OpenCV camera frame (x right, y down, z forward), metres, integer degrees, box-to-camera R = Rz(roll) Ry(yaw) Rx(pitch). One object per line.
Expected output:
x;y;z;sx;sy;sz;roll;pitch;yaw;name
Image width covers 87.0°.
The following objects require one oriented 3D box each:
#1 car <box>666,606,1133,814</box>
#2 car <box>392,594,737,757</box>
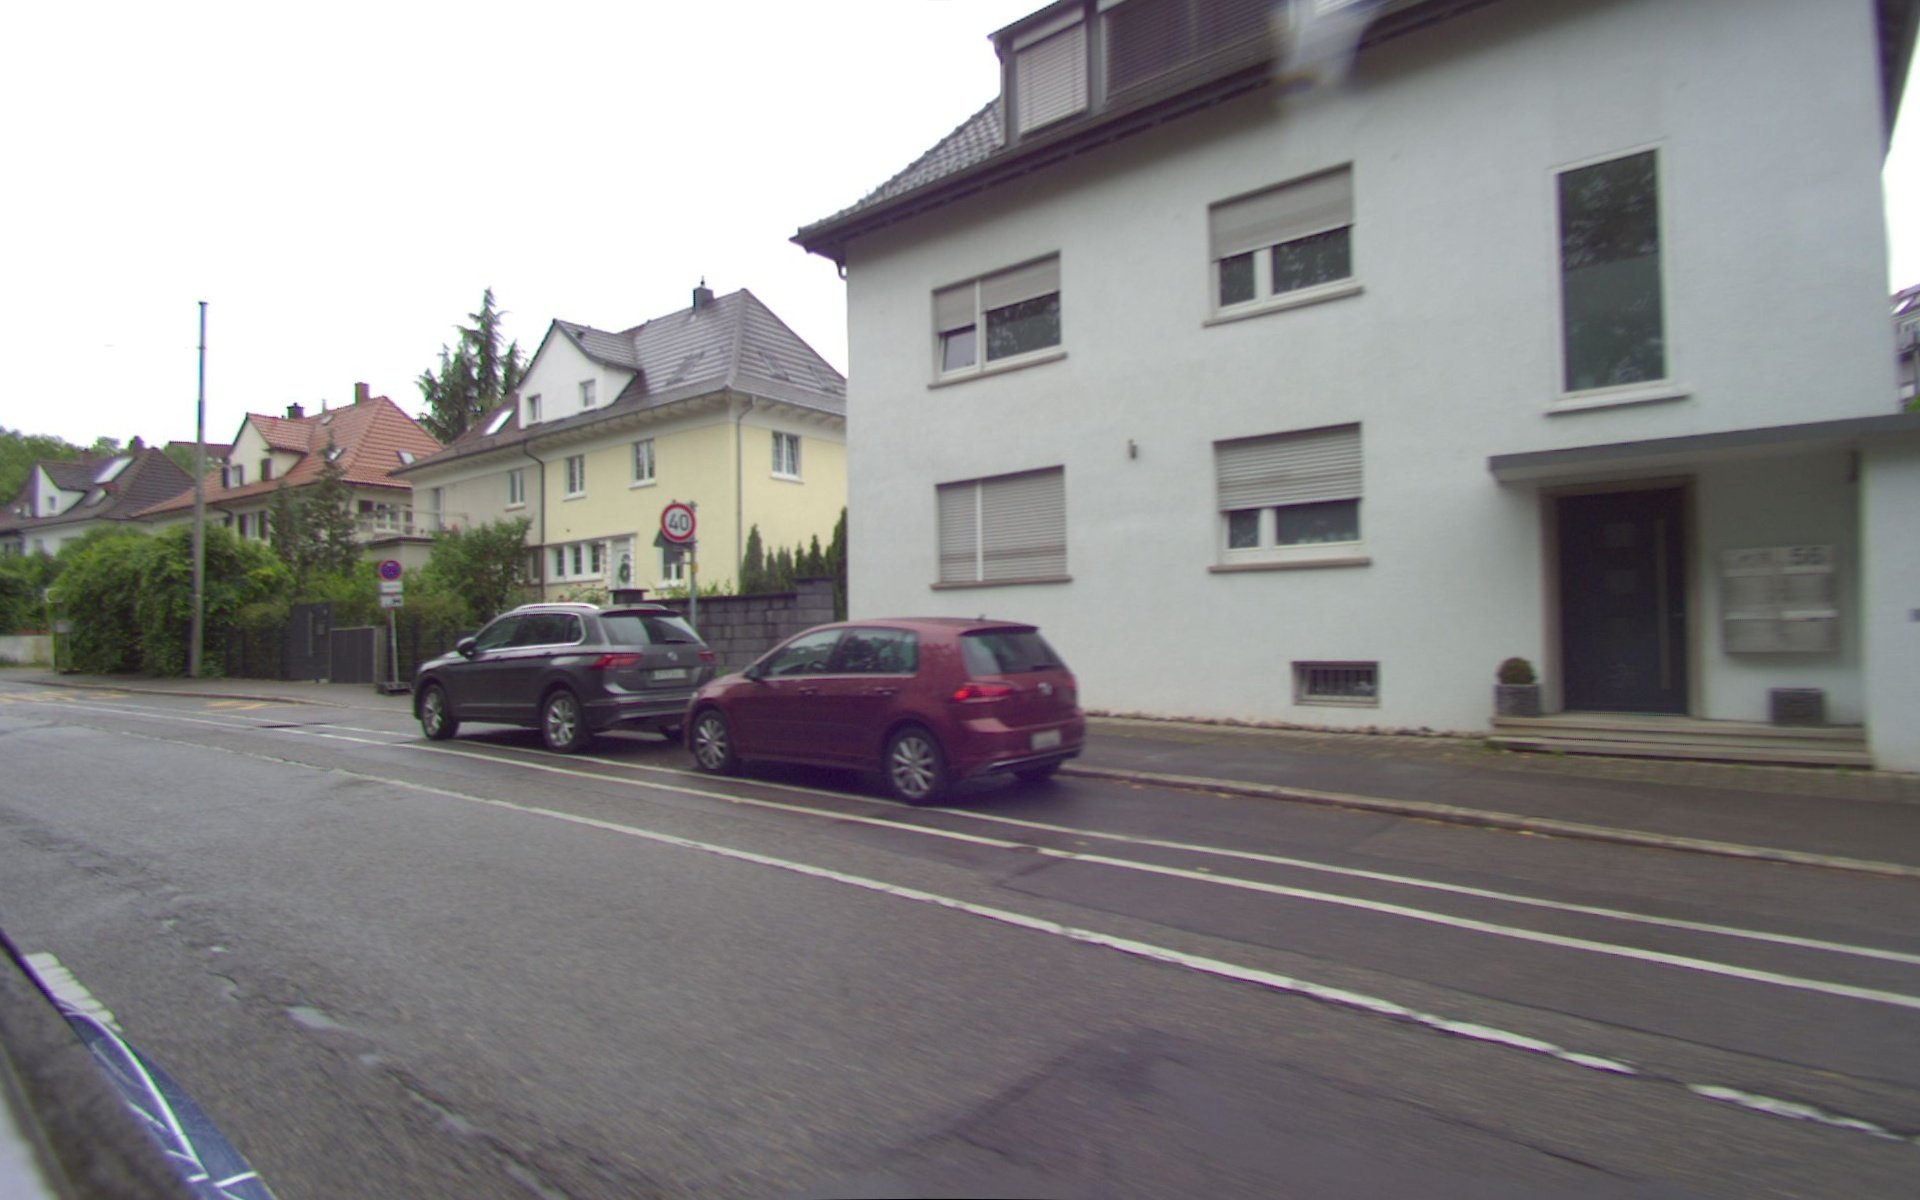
-0.717;0.842;9.061;4.226;1.451;1.600;-3;-2;40;car
-4.901;0.869;12.335;4.393;1.671;1.739;-2;-3;34;car
